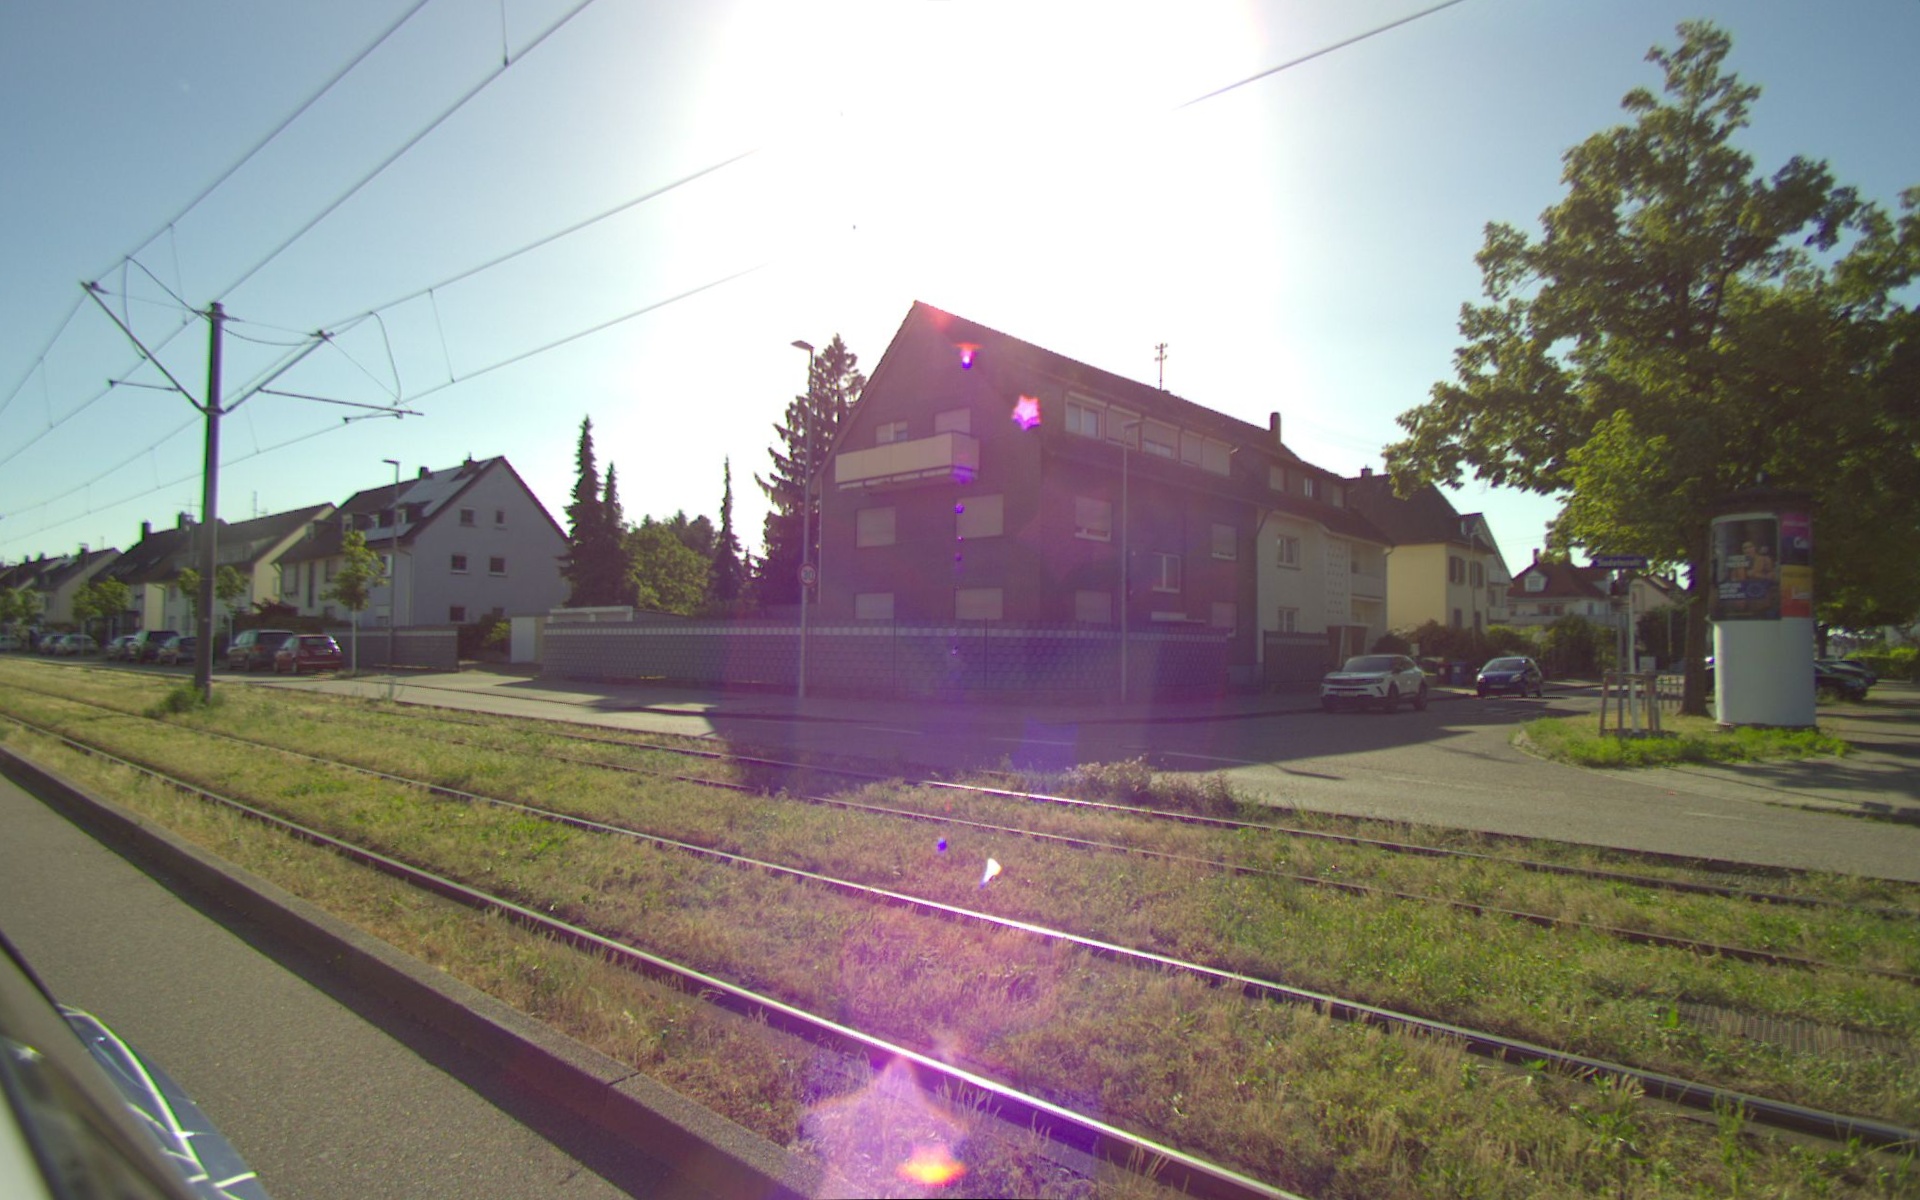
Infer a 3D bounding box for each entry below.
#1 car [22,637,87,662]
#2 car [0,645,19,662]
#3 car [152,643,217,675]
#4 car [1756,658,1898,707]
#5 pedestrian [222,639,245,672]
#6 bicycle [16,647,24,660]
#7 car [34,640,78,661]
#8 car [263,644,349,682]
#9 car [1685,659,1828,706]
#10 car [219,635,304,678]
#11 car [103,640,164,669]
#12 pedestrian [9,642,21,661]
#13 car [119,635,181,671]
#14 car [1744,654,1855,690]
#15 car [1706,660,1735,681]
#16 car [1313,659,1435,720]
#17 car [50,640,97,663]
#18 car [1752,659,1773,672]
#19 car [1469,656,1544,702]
[{"bbox_3d":[-87.031,4.725,97.306,1.785,2.096,4.416,-2,0,40],"label":"car"},{"bbox_3d":[-83.490,4.634,88.162,4.098,1.447,1.642,-2,-3,38],"label":"car"},{"bbox_3d":[-39.266,2.964,51.246,4.044,1.502,1.660,-2,-2,38],"label":"car"},{"bbox_3d":[29.382,2.747,34.362,1.454,1.543,3.401,1,-3,-38],"label":"car"},{"bbox_3d":[-37.340,2.858,52.014,0.918,1.652,0.689,-2,-2,38],"label":"pedestrian"},{"bbox_3d":[-87.327,4.940,93.980,1.872,1.172,0.471,-2,-2,45],"label":"bicycle"},{"bbox_3d":[-65.601,3.638,73.434,4.309,1.484,1.672,-1,-2,38],"label":"car"},{"bbox_3d":[-25.323,2.417,39.159,4.076,1.415,1.677,-2,-4,41],"label":"car"},{"bbox_3d":[26.025,2.666,33.139,1.627,1.421,3.327,1,-3,-38],"label":"car"},{"bbox_3d":[-29.523,2.355,42.734,4.843,1.697,1.801,-2,-2,41],"label":"car"},{"bbox_3d":[-47.848,3.134,58.573,4.553,1.552,1.940,-2,-2,40],"label":"car"},{"bbox_3d":[-87.552,4.768,93.767,0.676,1.829,0.611,-1,-2,30],"label":"pedestrian"},{"bbox_3d":[-43.958,2.824,54.898,4.837,1.837,1.727,-2,-2,40],"label":"car"},{"bbox_3d":[40.646,3.480,49.087,3.997,1.629,1.607,-3,-3,41],"label":"car"},{"bbox_3d":[67.837,6.290,90.233,3.904,1.678,1.462,1,-2,-44],"label":"car"},{"bbox_3d":[10.956,2.317,26.684,1.838,1.440,3.821,-4,-5,40],"label":"car"},{"bbox_3d":[-61.012,3.497,69.634,4.437,1.487,1.672,-1,-2,38],"label":"car"},{"bbox_3d":[90.160,7.384,113.697,3.227,1.343,1.436,1,-2,-44],"label":"car"},{"bbox_3d":[20.219,2.876,37.412,1.724,1.473,3.581,-2,-2,40],"label":"car"}]
